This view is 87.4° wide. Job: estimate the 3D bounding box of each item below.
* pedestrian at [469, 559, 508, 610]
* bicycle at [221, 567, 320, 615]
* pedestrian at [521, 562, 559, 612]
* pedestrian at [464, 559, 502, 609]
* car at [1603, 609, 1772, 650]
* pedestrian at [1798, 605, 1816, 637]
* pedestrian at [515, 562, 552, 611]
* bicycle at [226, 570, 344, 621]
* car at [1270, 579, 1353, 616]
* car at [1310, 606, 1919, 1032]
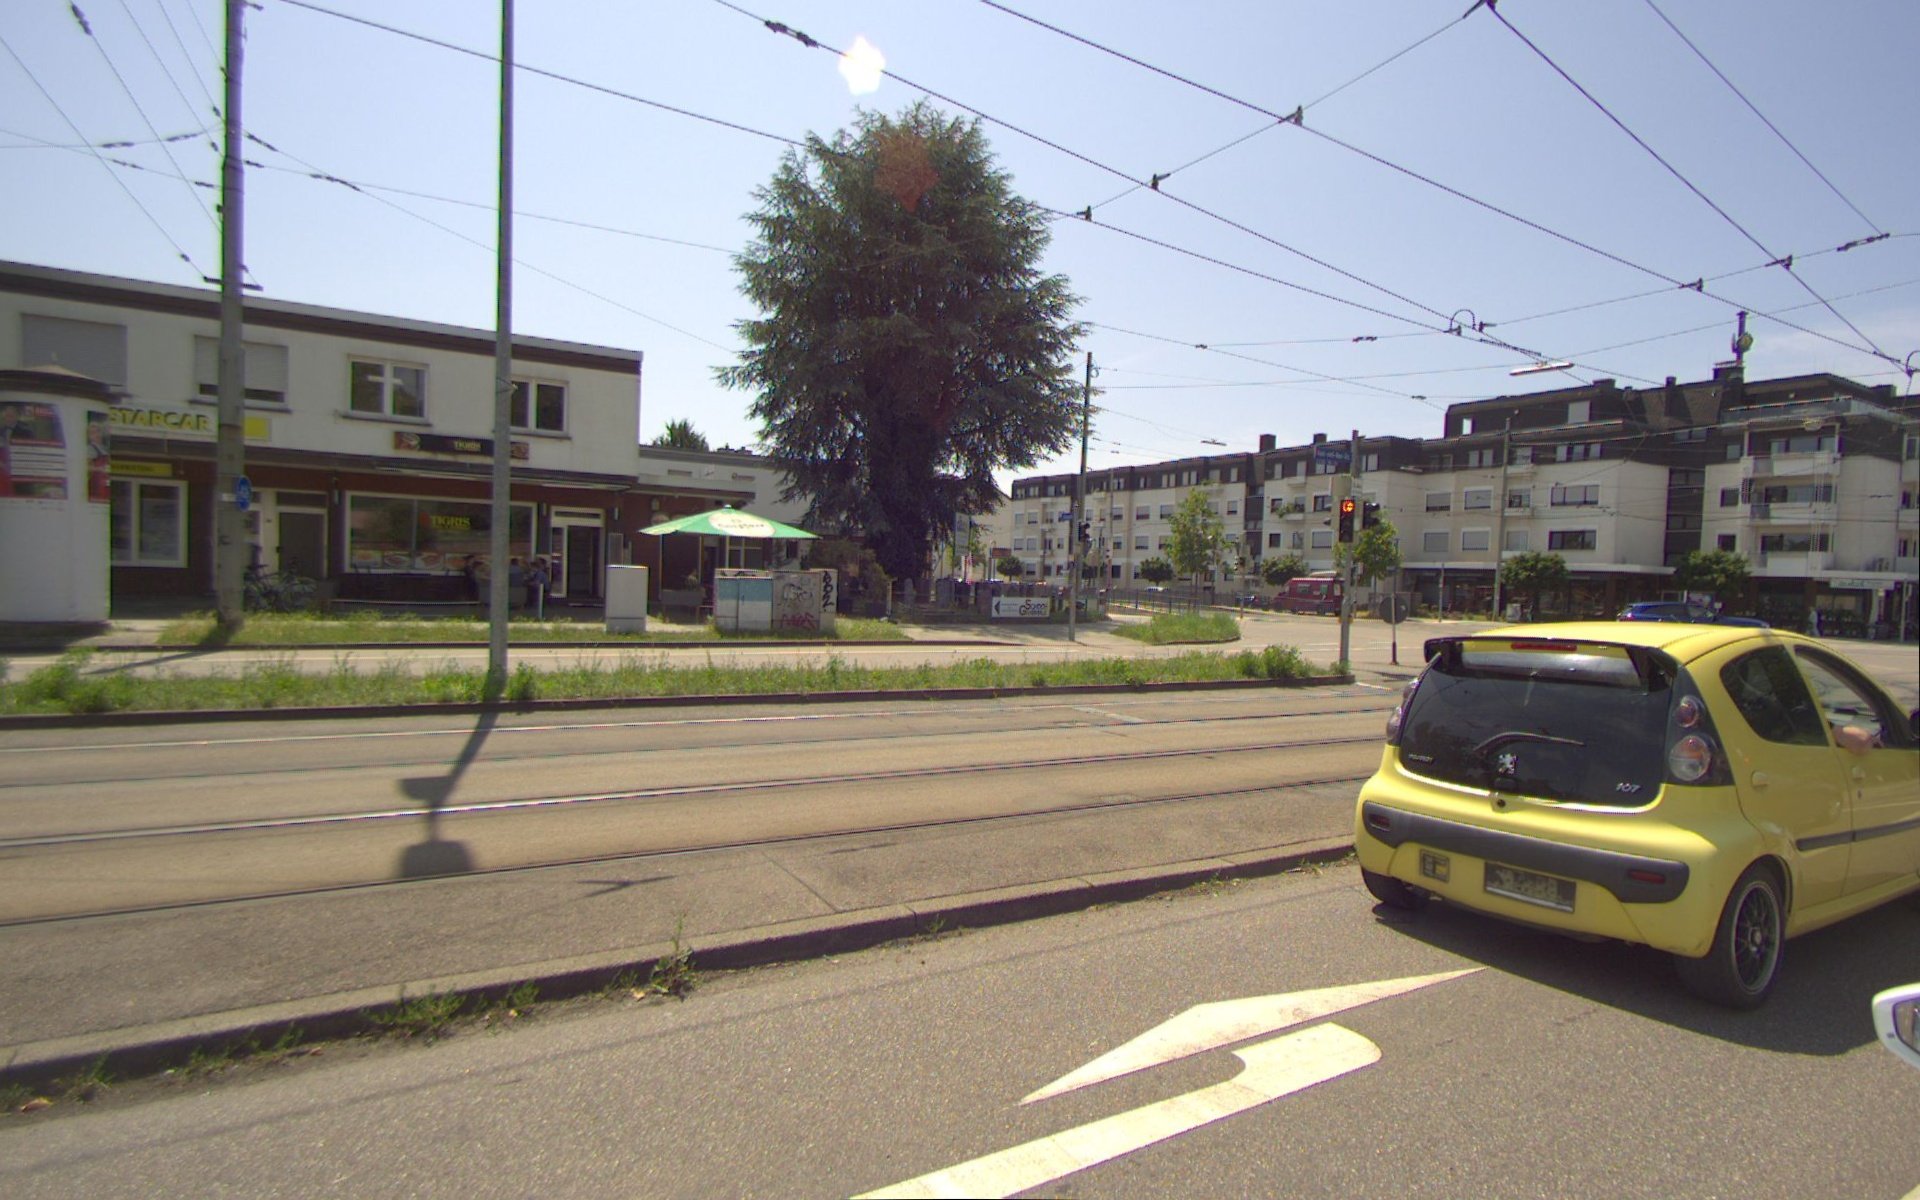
[{"bbox_3d":[-12.195,-0.390,25.986,0.832,1.285,0.586,2,0,-30],"label":"pedestrian"},{"bbox_3d":[-15.280,-0.196,22.297,1.738,0.992,0.536,2,0,-31],"label":"bicycle"},{"bbox_3d":[-11.172,-0.339,26.695,0.832,1.285,0.586,2,0,-30],"label":"pedestrian"},{"bbox_3d":[-12.637,-0.418,26.608,0.832,1.285,0.586,2,0,-30],"label":"pedestrian"},{"bbox_3d":[26.501,1.056,36.810,4.694,1.253,1.938,2,0,25],"label":"car"},{"bbox_3d":[47.789,1.165,56.670,0.598,1.777,0.506,2,0,16],"label":"pedestrian"},{"bbox_3d":[-11.571,-0.366,27.265,0.832,1.285,0.586,2,0,-30],"label":"pedestrian"},{"bbox_3d":[-14.269,-0.092,21.305,2.006,0.992,0.607,2,0,-31],"label":"bicycle"},{"bbox_3d":[23.782,-0.181,68.211,2.219,2.372,5.038,2,0,-31],"label":"car"},{"bbox_3d":[3.560,0.784,5.066,3.254,1.464,1.715,1,0,-31],"label":"car"}]
